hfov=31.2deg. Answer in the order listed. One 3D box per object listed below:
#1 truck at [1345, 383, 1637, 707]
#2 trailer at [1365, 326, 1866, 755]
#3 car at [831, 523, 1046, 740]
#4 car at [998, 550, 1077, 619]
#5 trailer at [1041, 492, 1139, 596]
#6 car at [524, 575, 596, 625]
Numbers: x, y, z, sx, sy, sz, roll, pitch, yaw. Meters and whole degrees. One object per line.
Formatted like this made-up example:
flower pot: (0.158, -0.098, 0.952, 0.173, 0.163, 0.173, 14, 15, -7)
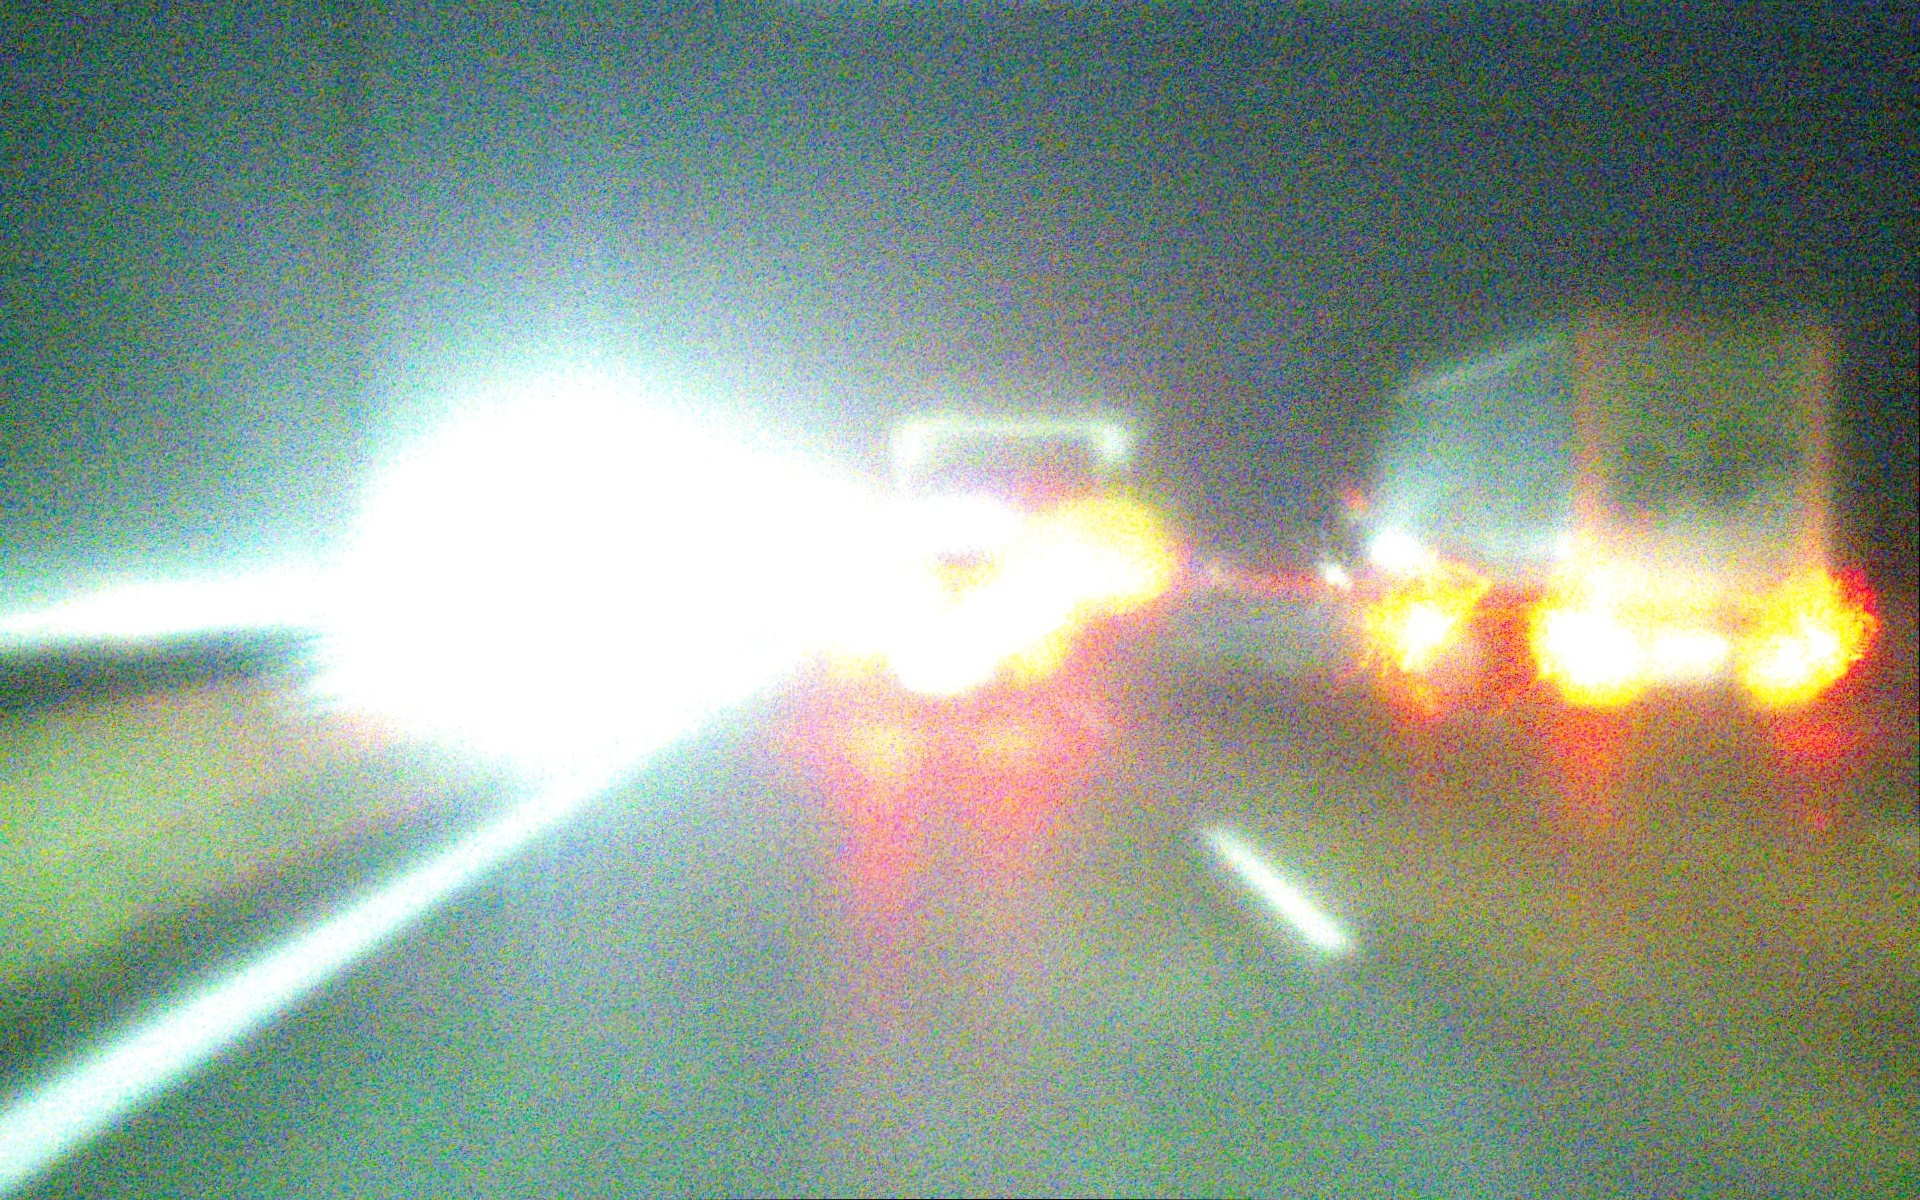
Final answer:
truck: (7.175, -0.739, 47.295, 2.903, 4.094, 6.031, -2, 1, -1)
trailer: (7.248, -0.658, 40.749, 2.903, 4.094, 14.488, -2, 1, -1)
car: (-0.215, 0.305, 34.301, 1.993, 2.007, 4.000, 1, 0, 0)
car: (2.368, -0.465, 105.568, 1.993, 2.007, 4.000, -2, 0, -4)
trailer: (5.421, -2.276, 146.022, 3.041, 4.095, 13.829, -2, 0, -2)
car: (-14.485, -0.022, 124.724, 1.993, 1.733, 5.236, 2, 1, 0)
